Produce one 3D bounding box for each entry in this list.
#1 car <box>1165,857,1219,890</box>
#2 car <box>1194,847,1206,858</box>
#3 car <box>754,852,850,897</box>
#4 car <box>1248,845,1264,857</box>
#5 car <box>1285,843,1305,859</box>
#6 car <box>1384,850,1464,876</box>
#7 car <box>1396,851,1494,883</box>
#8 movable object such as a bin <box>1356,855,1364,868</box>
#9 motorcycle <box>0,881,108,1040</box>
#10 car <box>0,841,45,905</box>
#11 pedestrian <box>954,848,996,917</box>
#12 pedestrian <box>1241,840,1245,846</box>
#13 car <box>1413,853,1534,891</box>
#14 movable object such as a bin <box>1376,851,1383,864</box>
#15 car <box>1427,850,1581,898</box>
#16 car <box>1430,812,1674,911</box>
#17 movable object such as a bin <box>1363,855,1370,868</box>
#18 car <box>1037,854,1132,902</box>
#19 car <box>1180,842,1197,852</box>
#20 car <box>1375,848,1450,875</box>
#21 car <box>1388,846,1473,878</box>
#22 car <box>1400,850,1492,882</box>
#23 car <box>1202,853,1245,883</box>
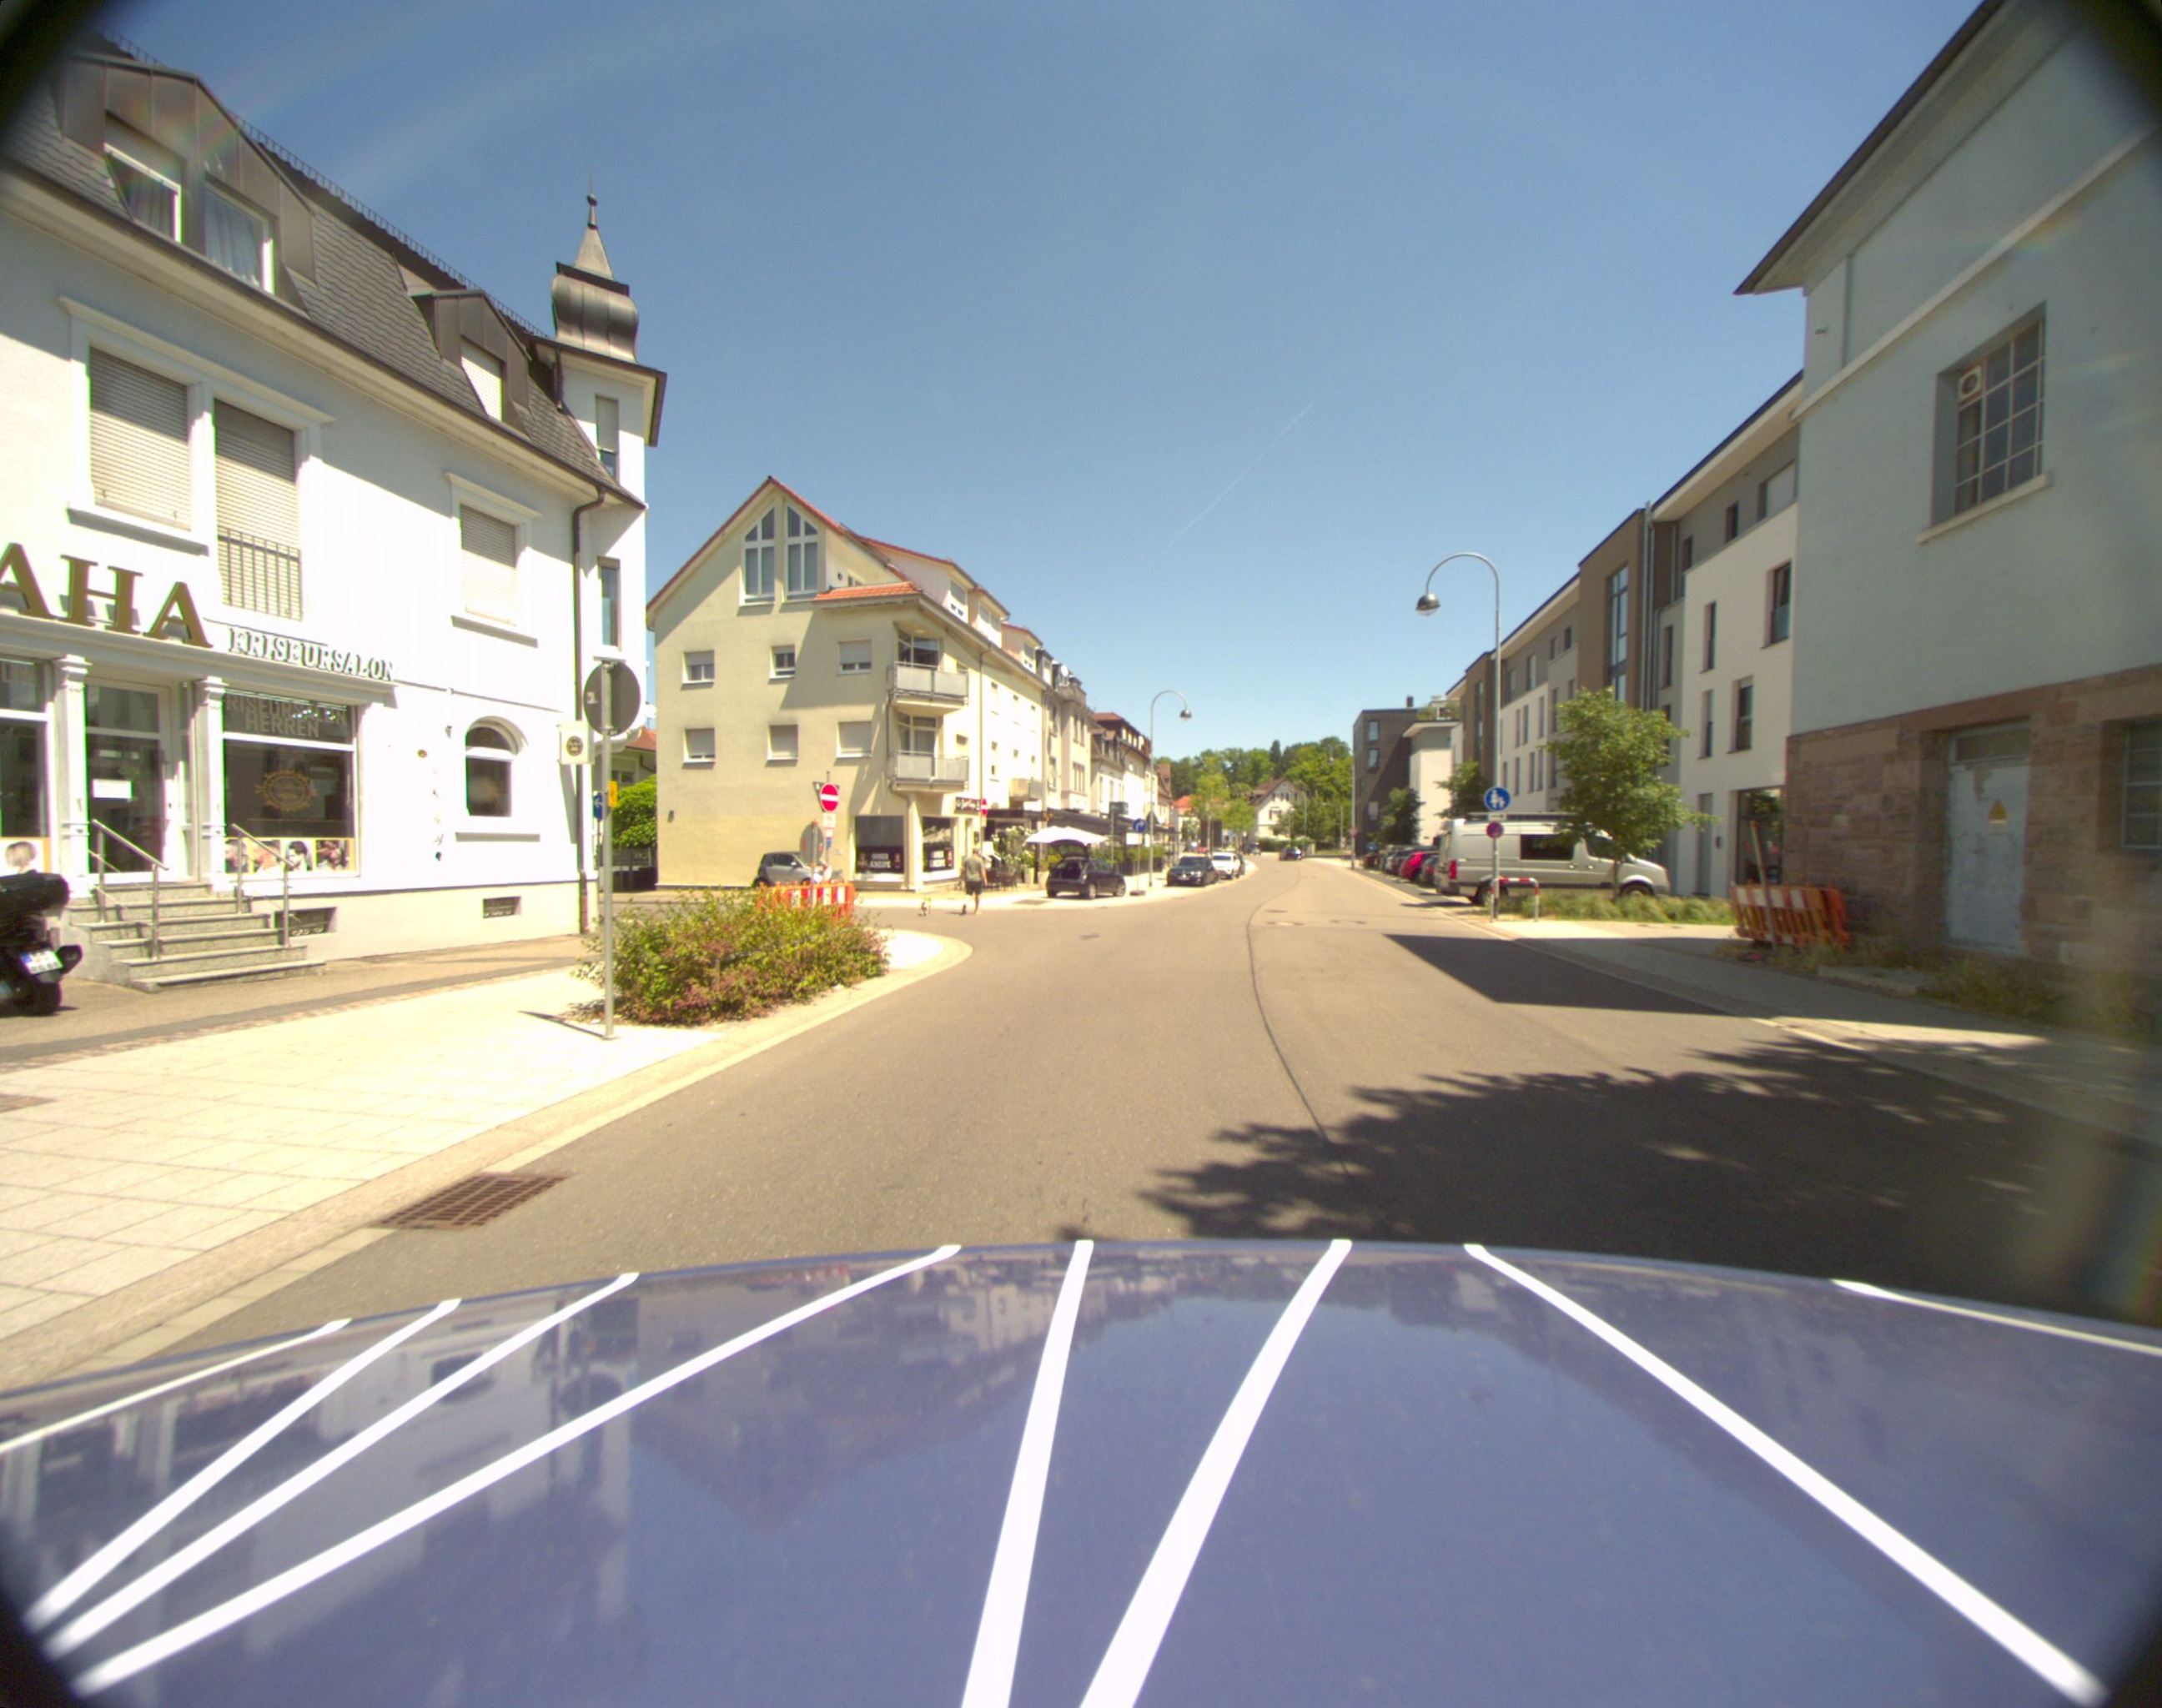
[{"bbox_3d":[5.513,0.909,37.224,1.726,1.397,4.615,2,1,19],"label":"car"},{"bbox_3d":[17.023,-0.172,109.028,1.682,1.505,3.388,-1,1,9],"label":"car"},{"bbox_3d":[-9.817,0.707,26.796,2.731,1.463,1.532,-1,2,14],"label":"car"},{"bbox_3d":[23.942,-0.424,104.262,1.814,1.691,4.078,-1,1,8],"label":"car"},{"bbox_3d":[22.845,-0.338,81.185,1.896,1.544,4.803,-1,0,14],"label":"car"},{"bbox_3d":[19.982,0.518,44.444,3.992,1.413,1.912,-1,1,16],"label":"car"},{"bbox_3d":[17.575,0.626,36.874,4.037,1.422,2.002,-1,1,17],"label":"car"},{"bbox_3d":[21.789,0.575,59.339,0.483,0.992,0.588,0,2,14],"label":"movable object such as a bin"},{"bbox_3d":[-9.868,0.887,6.589,2.380,1.268,0.857,-1,1,15],"label":"motorcycle"},{"bbox_3d":[-28.756,0.490,18.327,1.996,1.630,4.005,0,1,18],"label":"car"},{"bbox_3d":[-2.776,0.735,19.969,0.746,1.786,0.845,0,0,22],"label":"pedestrian"},{"bbox_3d":[27.774,-1.949,130.055,0.598,1.053,0.567,-1,2,-5],"label":"pedestrian"},{"bbox_3d":[16.570,0.753,32.274,4.206,1.429,1.887,-1,1,11],"label":"car"},{"bbox_3d":[23.146,0.258,58.938,0.403,0.992,0.556,0,2,14],"label":"movable object such as a bin"},{"bbox_3d":[15.068,0.704,27.339,4.460,1.582,2.002,-1,1,15],"label":"car"},{"bbox_3d":[13.792,0.233,22.707,5.775,2.717,2.294,-1,1,16],"label":"car"},{"bbox_3d":[22.250,0.568,59.249,0.403,0.992,0.556,0,2,14],"label":"movable object such as a bin"},{"bbox_3d":[0.214,0.788,27.268,1.873,1.483,3.868,2,2,26],"label":"car"},{"bbox_3d":[17.275,-1.069,122.042,1.735,1.465,4.320,2,2,-4],"label":"car"},{"bbox_3d":[20.496,0.459,47.124,3.992,1.507,2.002,-1,1,16],"label":"car"},{"bbox_3d":[19.211,0.448,41.977,4.037,1.642,2.002,-1,1,17],"label":"car"},{"bbox_3d":[18.746,0.611,39.249,4.037,1.488,2.002,-1,1,17],"label":"car"},{"bbox_3d":[8.346,0.759,44.341,1.739,1.478,4.059,3,2,20],"label":"car"}]
